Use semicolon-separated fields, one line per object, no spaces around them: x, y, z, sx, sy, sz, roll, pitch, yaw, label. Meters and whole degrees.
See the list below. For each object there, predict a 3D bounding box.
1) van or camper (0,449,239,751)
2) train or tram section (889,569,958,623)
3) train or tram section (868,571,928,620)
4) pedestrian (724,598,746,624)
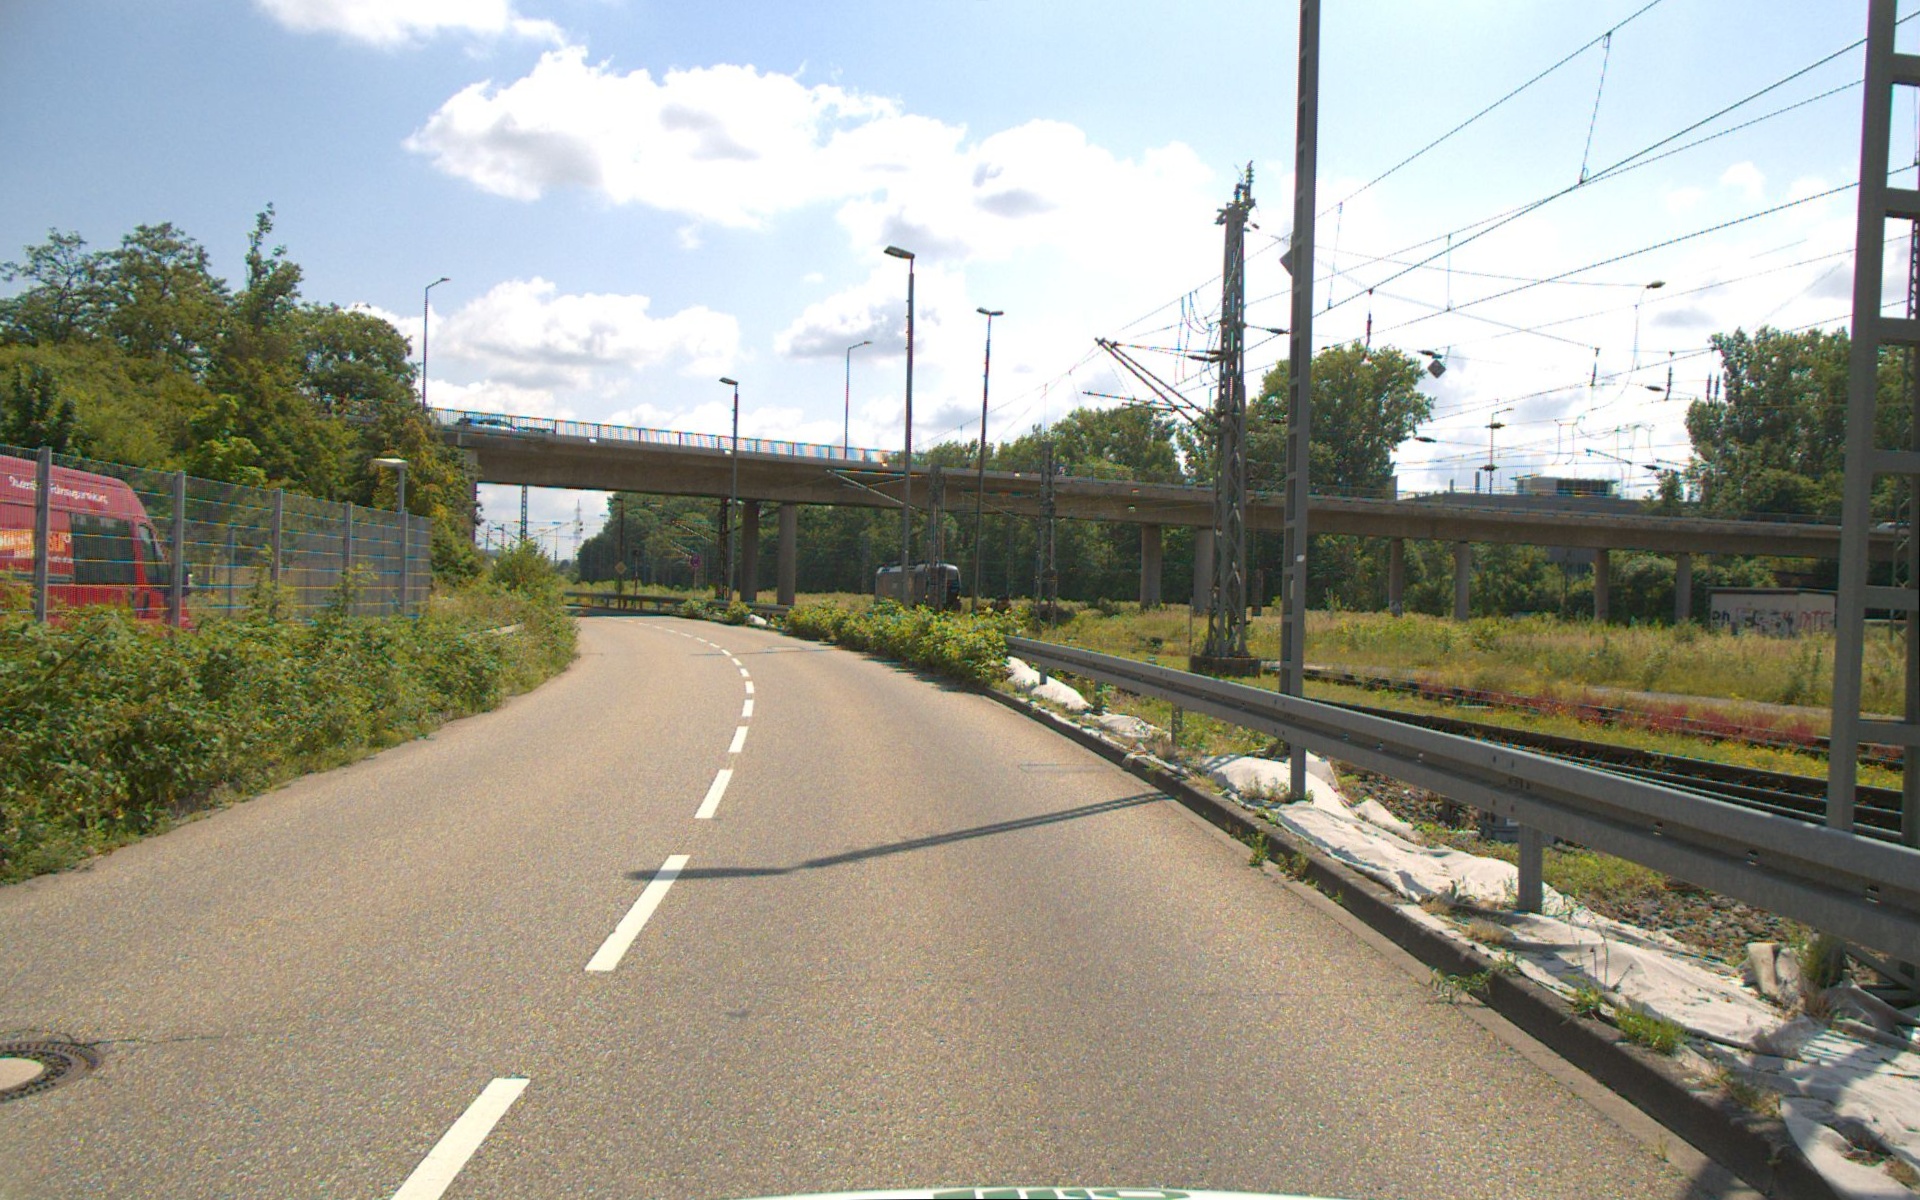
-9.403;0.002;16.758;2.146;2.558;5.695;-1;0;-6;van or camper
-2.649;-0.244;116.536;2.842;3.570;8.531;1;-1;-15;train or tram section
-4.746;-0.297;124.710;2.710;3.538;8.206;1;-1;-15;train or tram section
-13.976;0.673;102.848;1.093;1.567;1.571;1;-1;-18;pedestrian
